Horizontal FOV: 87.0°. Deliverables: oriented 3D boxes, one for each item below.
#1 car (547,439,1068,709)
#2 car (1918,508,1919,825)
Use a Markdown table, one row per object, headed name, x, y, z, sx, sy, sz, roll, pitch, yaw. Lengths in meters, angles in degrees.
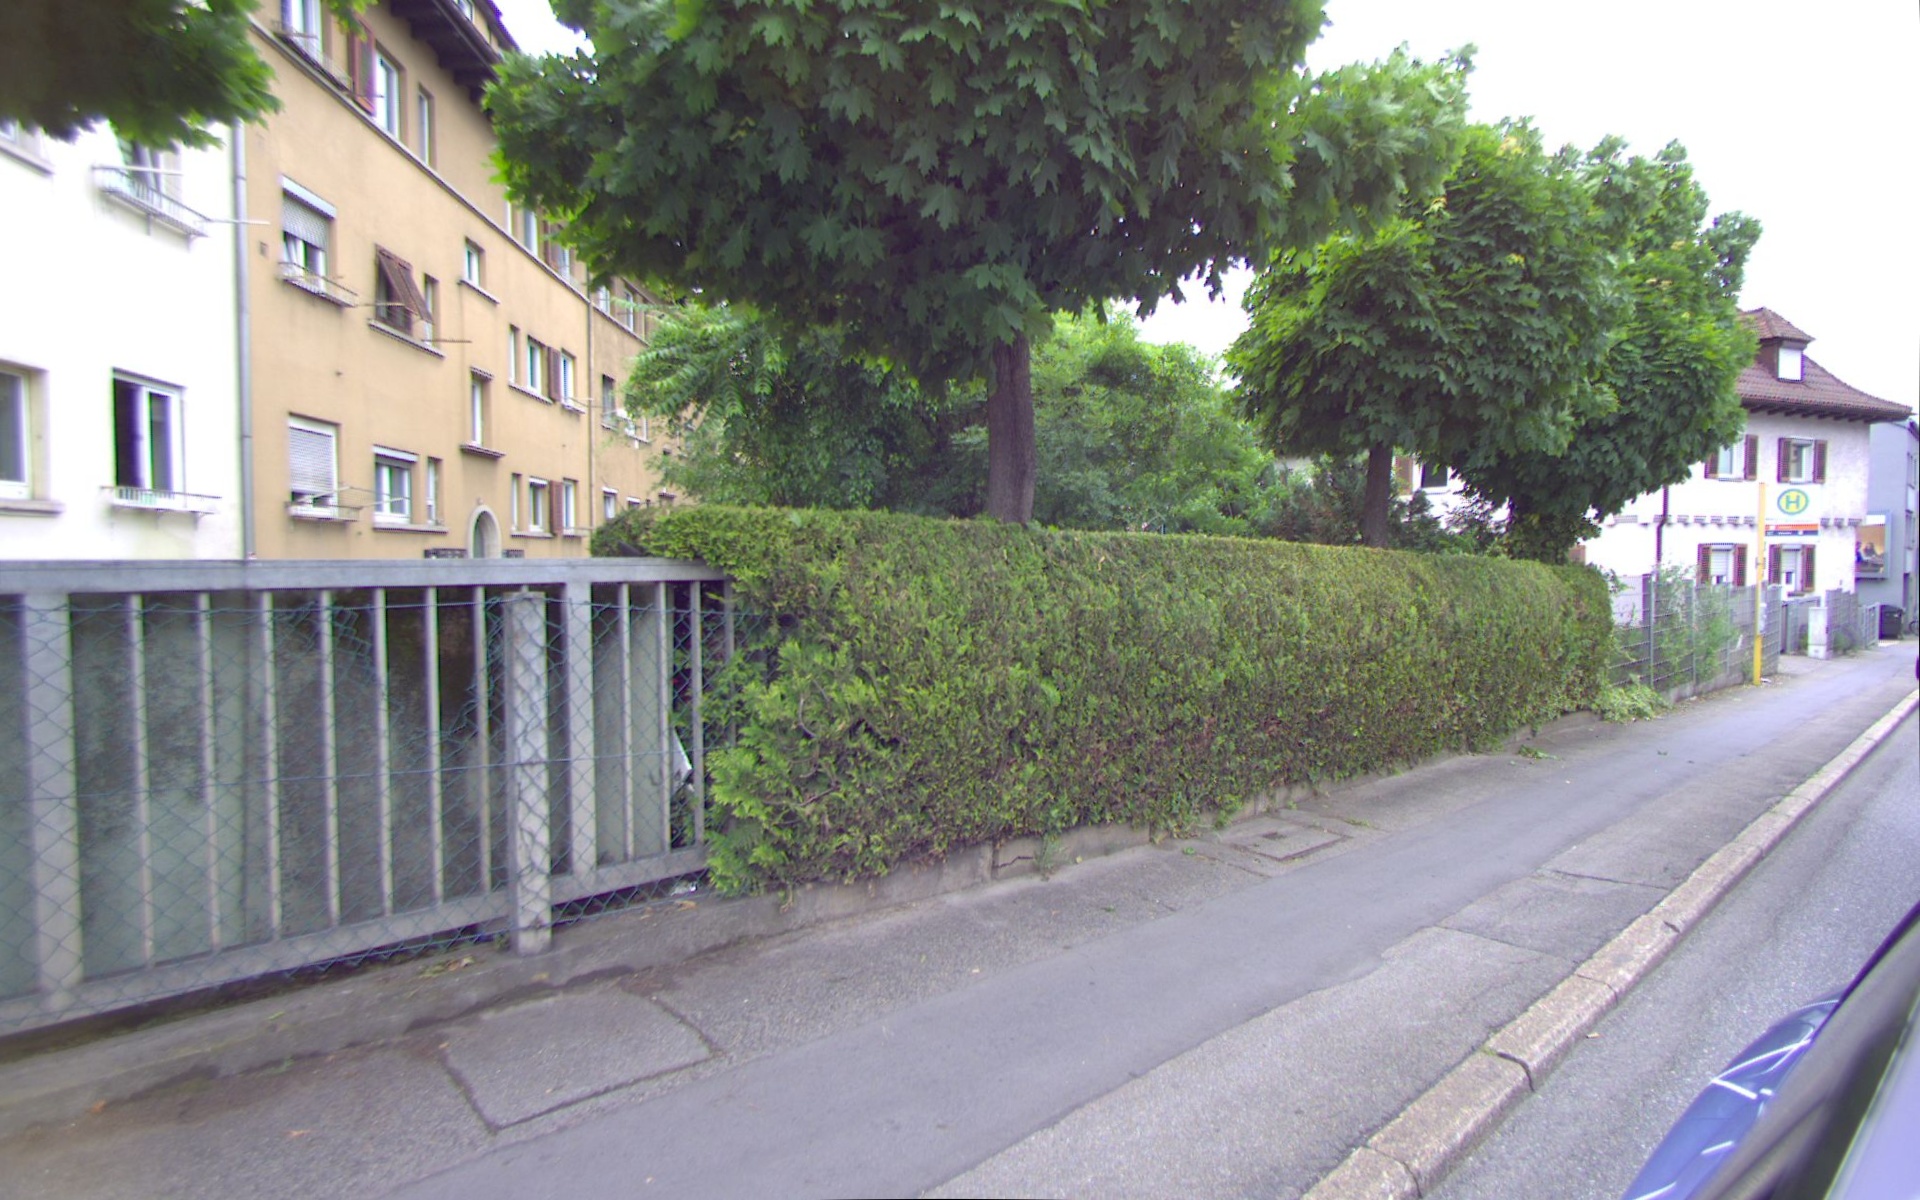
| name | x | y | z | sx | sy | sz | roll | pitch | yaw |
| --- | --- | --- | --- | --- | --- | --- | --- | --- | --- |
| car | -0.967 | -0.164 | 7.322 | 3.381 | 1.478 | 1.698 | -1 | 0 | -43 |
| car | 5.807 | 0.552 | 4.458 | 4.629 | 1.804 | 1.861 | -1 | 0 | -41 |
